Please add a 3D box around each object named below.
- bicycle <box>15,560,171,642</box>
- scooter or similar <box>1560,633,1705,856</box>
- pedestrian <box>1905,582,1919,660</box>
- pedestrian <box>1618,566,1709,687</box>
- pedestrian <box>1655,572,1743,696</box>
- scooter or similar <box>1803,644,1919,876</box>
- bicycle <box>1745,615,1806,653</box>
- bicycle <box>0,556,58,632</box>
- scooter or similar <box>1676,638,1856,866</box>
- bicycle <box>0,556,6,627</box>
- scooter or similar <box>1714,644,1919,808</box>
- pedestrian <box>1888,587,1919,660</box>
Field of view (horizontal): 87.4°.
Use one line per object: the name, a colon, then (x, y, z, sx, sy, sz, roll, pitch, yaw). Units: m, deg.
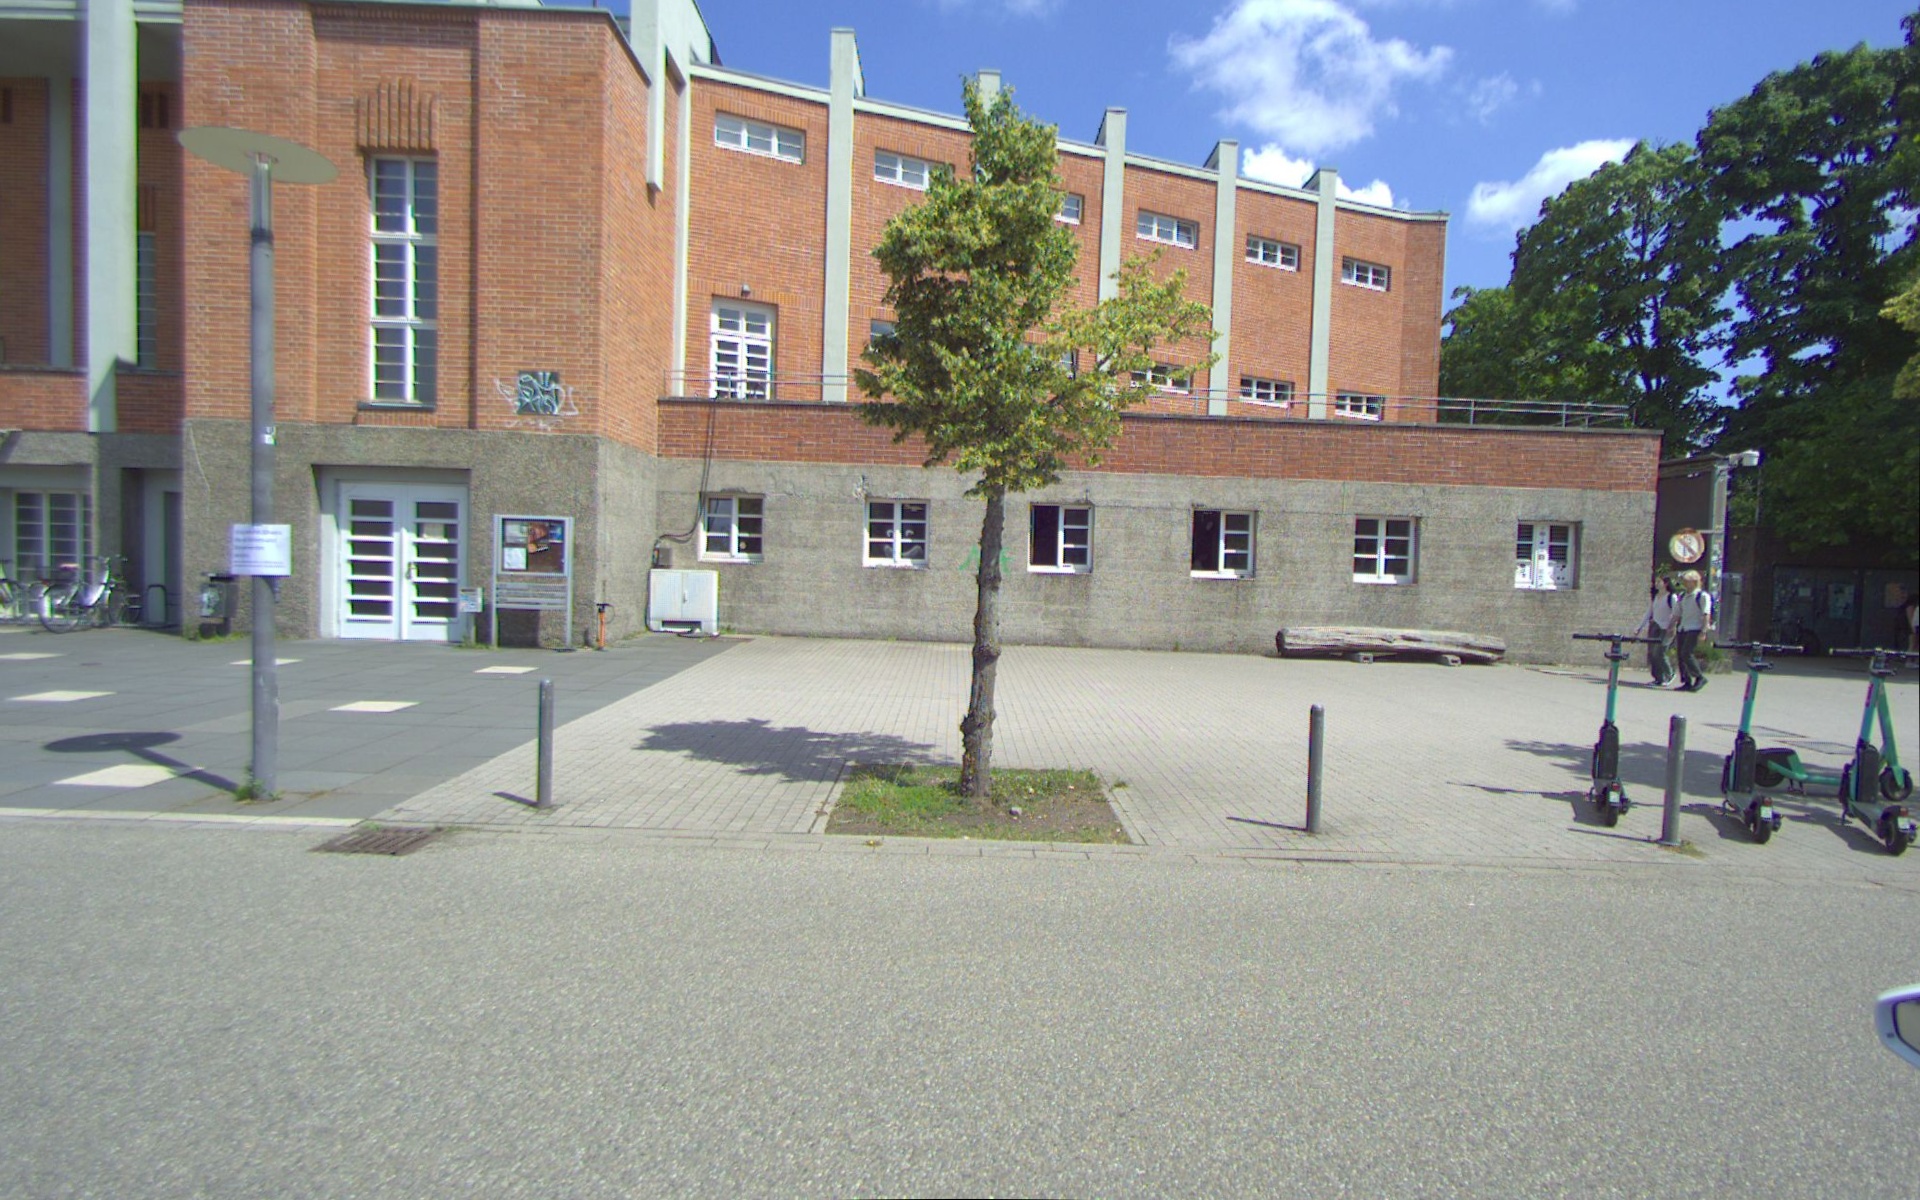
bicycle: (-13.081, -0.011, 15.251, 0.654, 1.141, 2.027, 2, 2, -1)
scooter or similar: (4.513, 0.894, 6.831, 0.560, 1.241, 1.573, 3, 2, 26)
pedestrian: (21.574, 0.478, 22.462, 0.445, 1.734, 0.523, -2, 5, -44)
pedestrian: (10.874, 0.395, 15.545, 0.899, 1.803, 0.577, 2, 2, -1)
pedestrian: (10.964, 0.495, 14.919, 0.790, 1.786, 0.565, 2, 2, -1)
scooter or similar: (5.966, 0.955, 6.379, 0.514, 1.241, 1.573, 3, 2, 26)
bicycle: (20.301, 0.846, 25.019, 1.207, 0.895, 0.305, 2, 2, 1)
bicycle: (-14.868, -0.098, 15.213, 0.581, 1.141, 2.028, 2, 2, 1)
scooter or similar: (5.346, 0.931, 6.757, 0.554, 1.241, 1.573, 3, 2, 26)
bicycle: (-15.729, -0.100, 15.245, 0.430, 1.141, 2.028, 2, 3, 4)
scooter or similar: (6.947, 0.983, 8.019, 1.322, 1.164, 0.565, 2, 2, 11)
pedestrian: (21.720, 0.531, 22.986, 0.409, 1.615, 0.598, -2, 5, -42)
